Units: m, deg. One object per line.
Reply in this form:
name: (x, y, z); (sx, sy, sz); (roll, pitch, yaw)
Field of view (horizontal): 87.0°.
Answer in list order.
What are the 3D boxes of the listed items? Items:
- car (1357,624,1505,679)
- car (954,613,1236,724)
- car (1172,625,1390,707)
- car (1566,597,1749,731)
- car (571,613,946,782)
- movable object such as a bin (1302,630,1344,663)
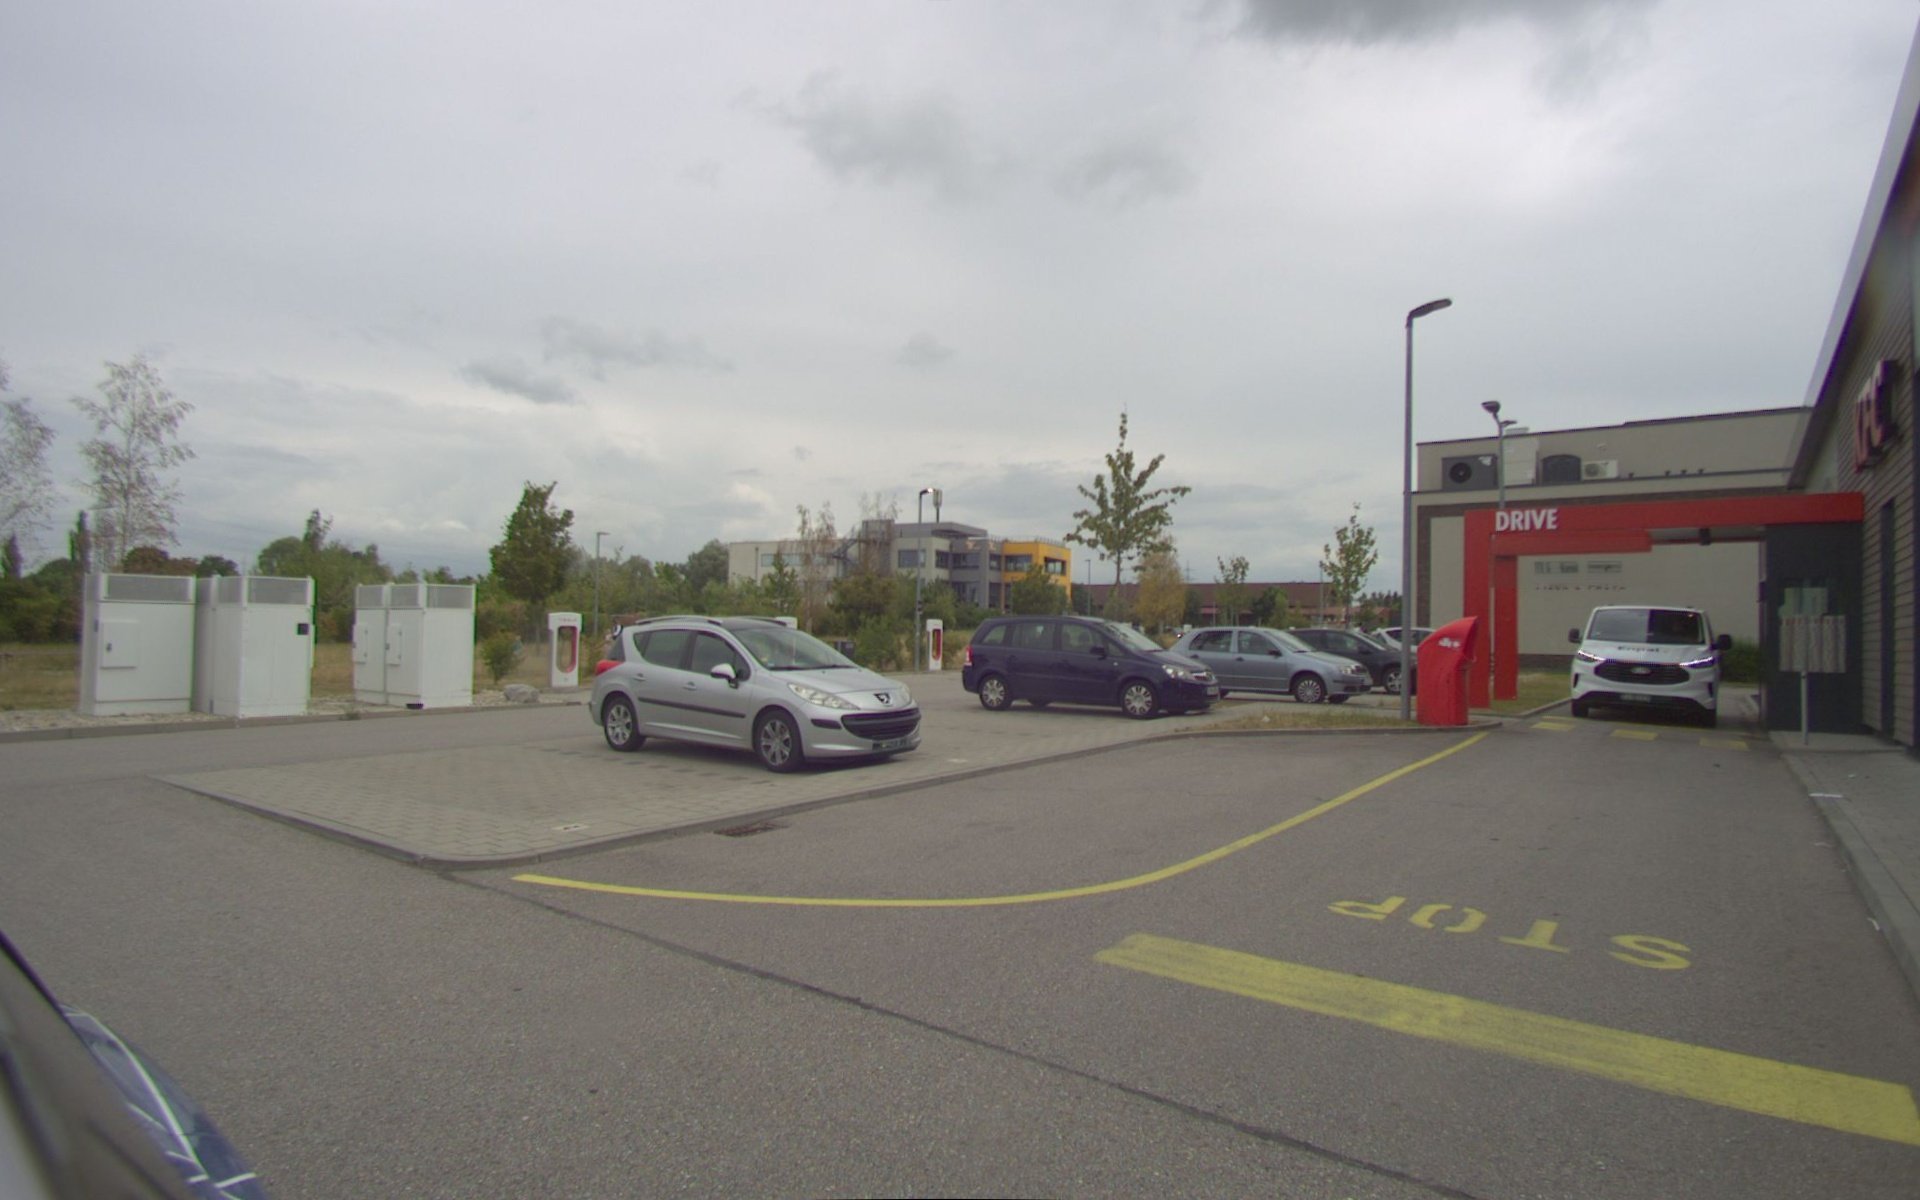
car: (14.494, 1.604, 31.219); (3.837, 1.586, 1.803); (-3, -4, 37)
car: (2.159, 1.074, 16.862); (4.477, 1.629, 1.566); (-1, -3, 36)
car: (6.022, 1.230, 19.223); (3.680, 1.405, 1.413); (-3, -4, 40)
car: (12.152, 1.036, 17.474); (2.278, 1.946, 5.056); (-1, -3, 38)
car: (-2.292, 0.940, 10.990); (4.160, 1.516, 1.609); (-1, -3, 36)
movable object such as a bin: (15.429, 1.993, 42.955); (1.361, 1.360, 1.853); (-2, -4, 30)
